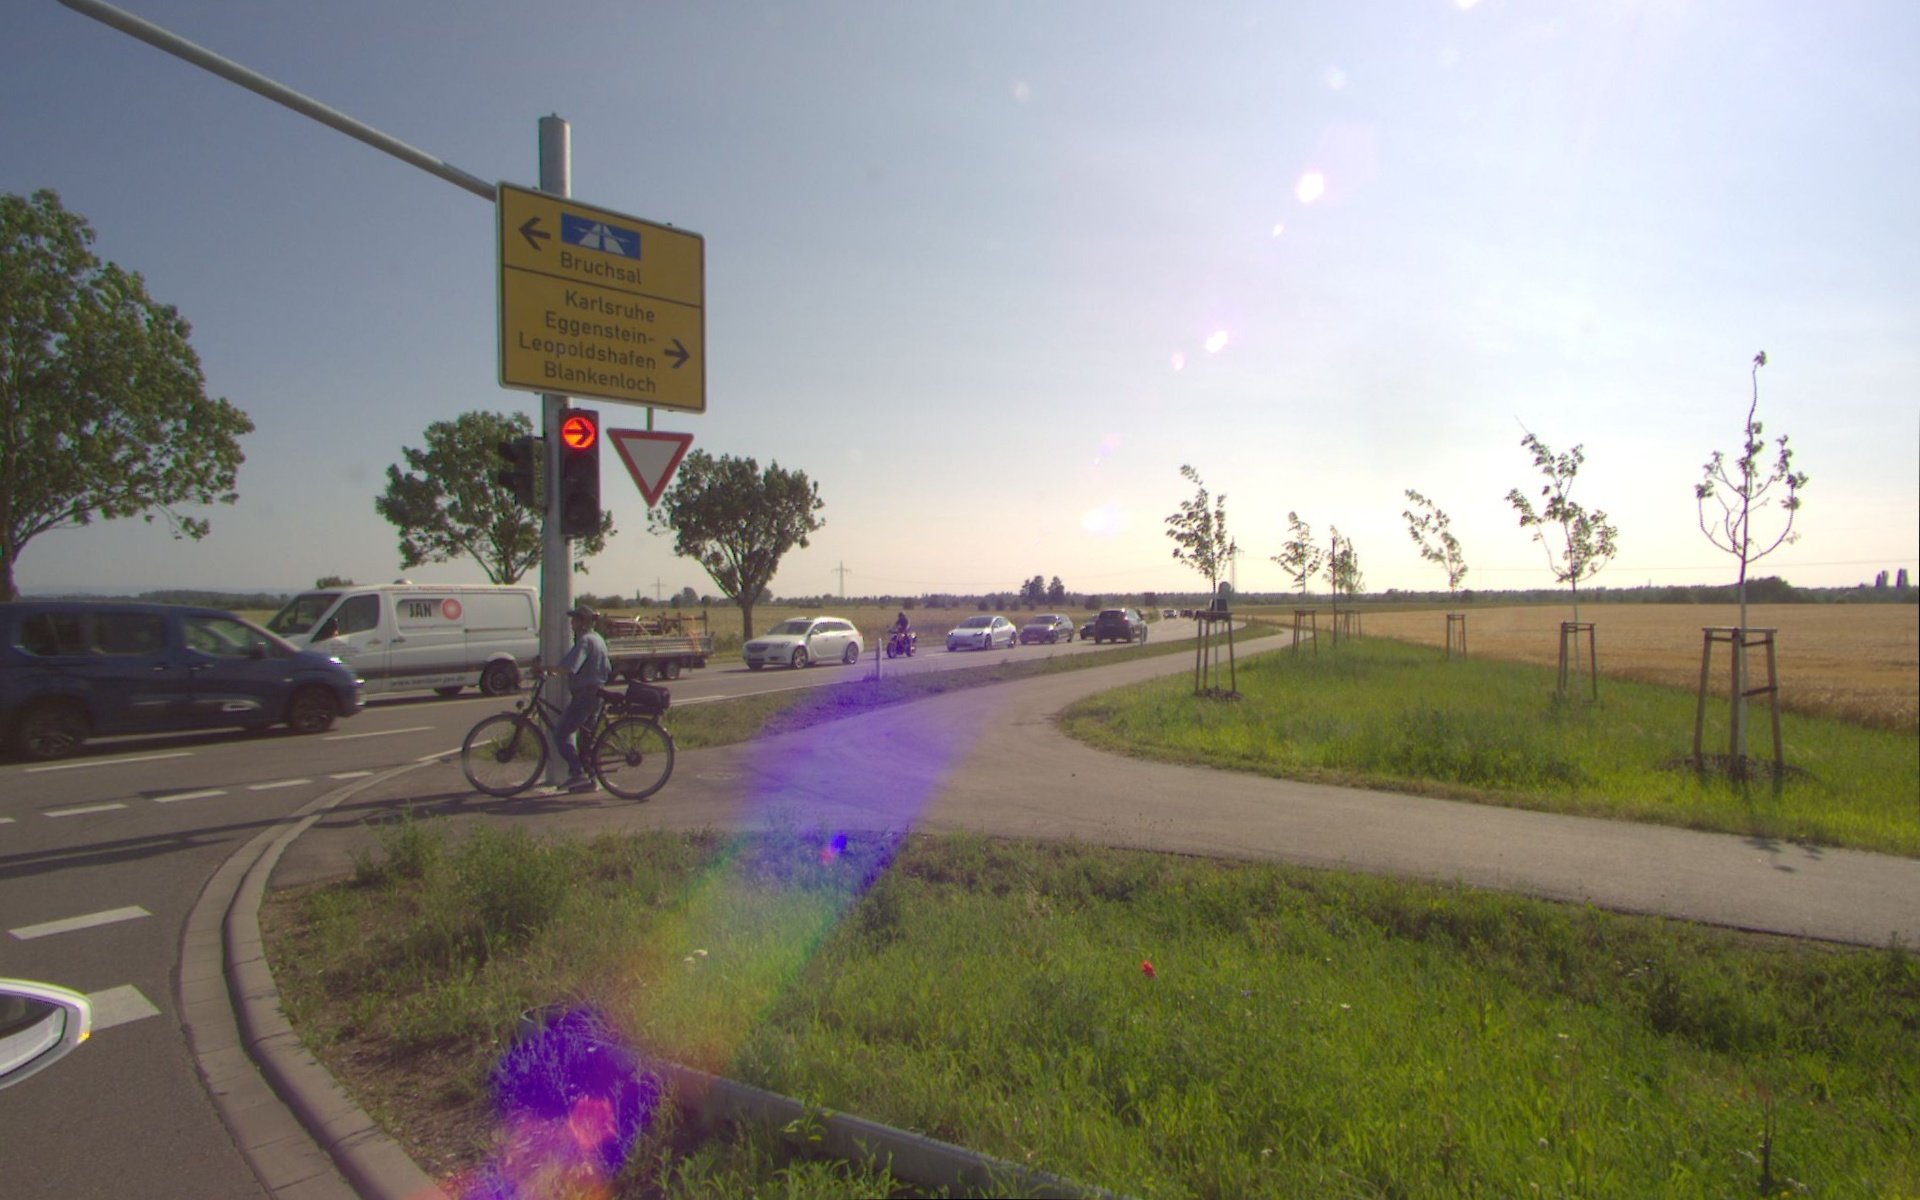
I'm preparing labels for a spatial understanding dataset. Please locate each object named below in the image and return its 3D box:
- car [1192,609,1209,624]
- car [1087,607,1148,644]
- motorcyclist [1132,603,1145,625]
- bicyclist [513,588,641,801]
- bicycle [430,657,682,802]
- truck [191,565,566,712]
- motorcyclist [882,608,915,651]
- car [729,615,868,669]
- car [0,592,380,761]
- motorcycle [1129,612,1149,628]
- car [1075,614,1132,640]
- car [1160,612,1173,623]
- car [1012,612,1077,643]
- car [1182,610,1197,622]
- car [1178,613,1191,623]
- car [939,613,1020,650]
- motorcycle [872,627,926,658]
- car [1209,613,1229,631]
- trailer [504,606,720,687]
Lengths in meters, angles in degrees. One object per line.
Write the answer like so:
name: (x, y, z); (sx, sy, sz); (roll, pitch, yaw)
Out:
car: (32.067, 2.157, 133.617); (1.780, 1.907, 4.001); (0, -2, 8)
car: (7.843, 1.243, 49.537); (1.946, 1.703, 4.094); (-1, -1, 24)
motorcyclist: (12.271, 0.939, 68.748); (0.669, 1.515, 0.844); (-1, 0, 25)
bicyclist: (-3.351, 0.827, 8.833); (0.901, 1.787, 0.619); (3, -2, -13)
bicycle: (-3.471, 1.123, 8.779); (1.910, 1.165, 0.681); (3, -2, -13)
truck: (-11.078, 0.686, 19.744); (2.041, 2.436, 6.168); (-1, -1, 31)
motorcyclist: (-2.228, 1.066, 36.542); (0.670, 1.535, 1.176); (-1, 0, 27)
car: (-4.860, 1.245, 30.829); (1.738, 1.511, 4.689); (-1, -1, 28)
car: (-10.332, 0.888, 13.087); (1.819, 1.857, 4.445); (-2, -1, 32)
motorcycle: (12.306, 1.376, 68.842); (0.859, 1.087, 1.962); (-1, 0, 25)
car: (8.442, 1.573, 58.629); (1.866, 1.455, 4.779); (-1, -1, 27)
car: (32.260, 2.754, 156.520); (1.855, 1.646, 3.999); (-3, -2, 10)
car: (4.299, 1.374, 50.497); (1.866, 1.480, 4.292); (-1, -1, 25)
car: (34.950, 2.442, 152.369); (1.899, 1.822, 3.887); (0, -2, 8)
car: (38.564, 3.086, 172.145); (1.899, 1.715, 3.887); (0, -2, 8)
car: (0.907, 1.322, 43.247); (1.866, 1.486, 4.260); (-1, 0, 26)
motorcycle: (-2.207, 1.542, 36.591); (0.885, 1.057, 2.419); (-1, 0, 26)
car: (28.880, 2.478, 111.743); (2.024, 2.039, 3.998); (0, -2, 14)
trailer: (-8.363, 1.064, 24.586); (1.951, 1.760, 4.991); (-1, -1, 28)
